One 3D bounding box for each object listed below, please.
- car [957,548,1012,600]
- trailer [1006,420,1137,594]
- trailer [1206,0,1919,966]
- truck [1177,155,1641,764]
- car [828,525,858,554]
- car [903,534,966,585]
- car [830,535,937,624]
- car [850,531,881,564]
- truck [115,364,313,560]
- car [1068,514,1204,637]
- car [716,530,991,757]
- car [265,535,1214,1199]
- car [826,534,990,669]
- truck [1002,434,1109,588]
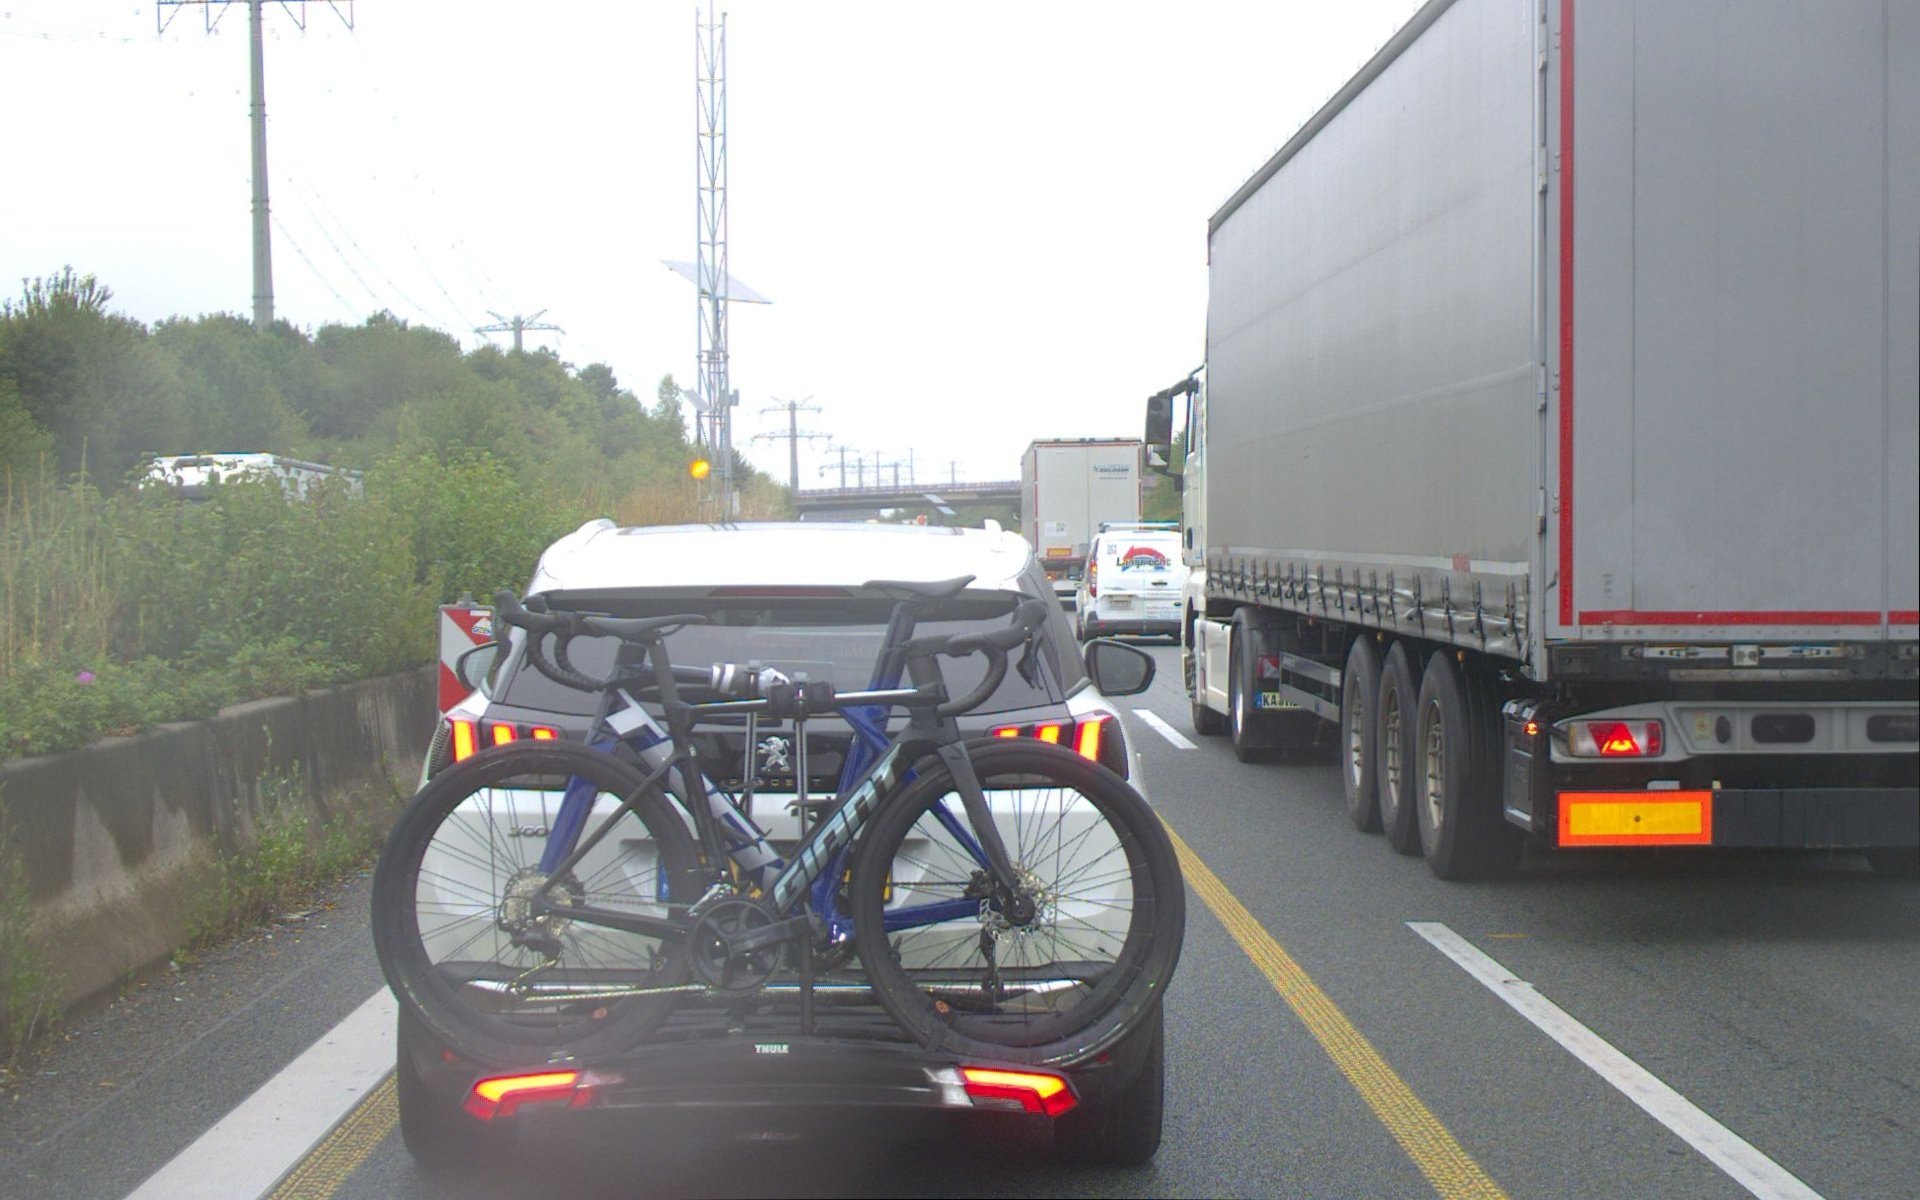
[{"bbox_3d":[0.943,-1.042,137.229,2.110,1.966,4.001,0,2,-1],"label":"car"},{"bbox_3d":[2.702,-2.301,87.424,2.692,4.062,13.634,0,1,-1],"label":"trailer"},{"bbox_3d":[3.316,-0.860,19.286,2.706,4.132,13.733,0,1,-1],"label":"trailer"},{"bbox_3d":[3.222,-0.998,26.150,2.706,4.124,5.691,0,1,-1],"label":"truck"},{"bbox_3d":[-8.015,-4.144,235.308,1.931,1.904,4.001,0,2,-1],"label":"car"},{"bbox_3d":[-0.785,-1.229,103.621,1.850,1.525,4.000,0,1,-1],"label":"car"},{"bbox_3d":[-1.353,-0.391,61.666,1.850,1.525,4.000,0,1,-1],"label":"car"},{"bbox_3d":[-5.967,-3.335,217.502,1.931,1.966,4.001,0,2,-1],"label":"car"},{"bbox_3d":[-16.482,-2.990,76.442,2.785,4.010,7.234,-3,1,-1],"label":"truck"},{"bbox_3d":[2.717,-0.409,53.924,1.829,1.833,4.656,0,1,-1],"label":"car"},{"bbox_3d":[-0.744,0.261,25.134,1.850,1.525,4.000,0,1,-1],"label":"car"},{"bbox_3d":[-0.462,0.596,9.100,1.850,1.525,4.769,0,1,-1],"label":"car"},{"bbox_3d":[-0.617,-0.014,40.964,1.850,1.525,4.000,0,1,-1],"label":"car"},{"bbox_3d":[2.576,-2.406,94.230,2.660,4.062,6.539,0,1,-1],"label":"truck"}]
